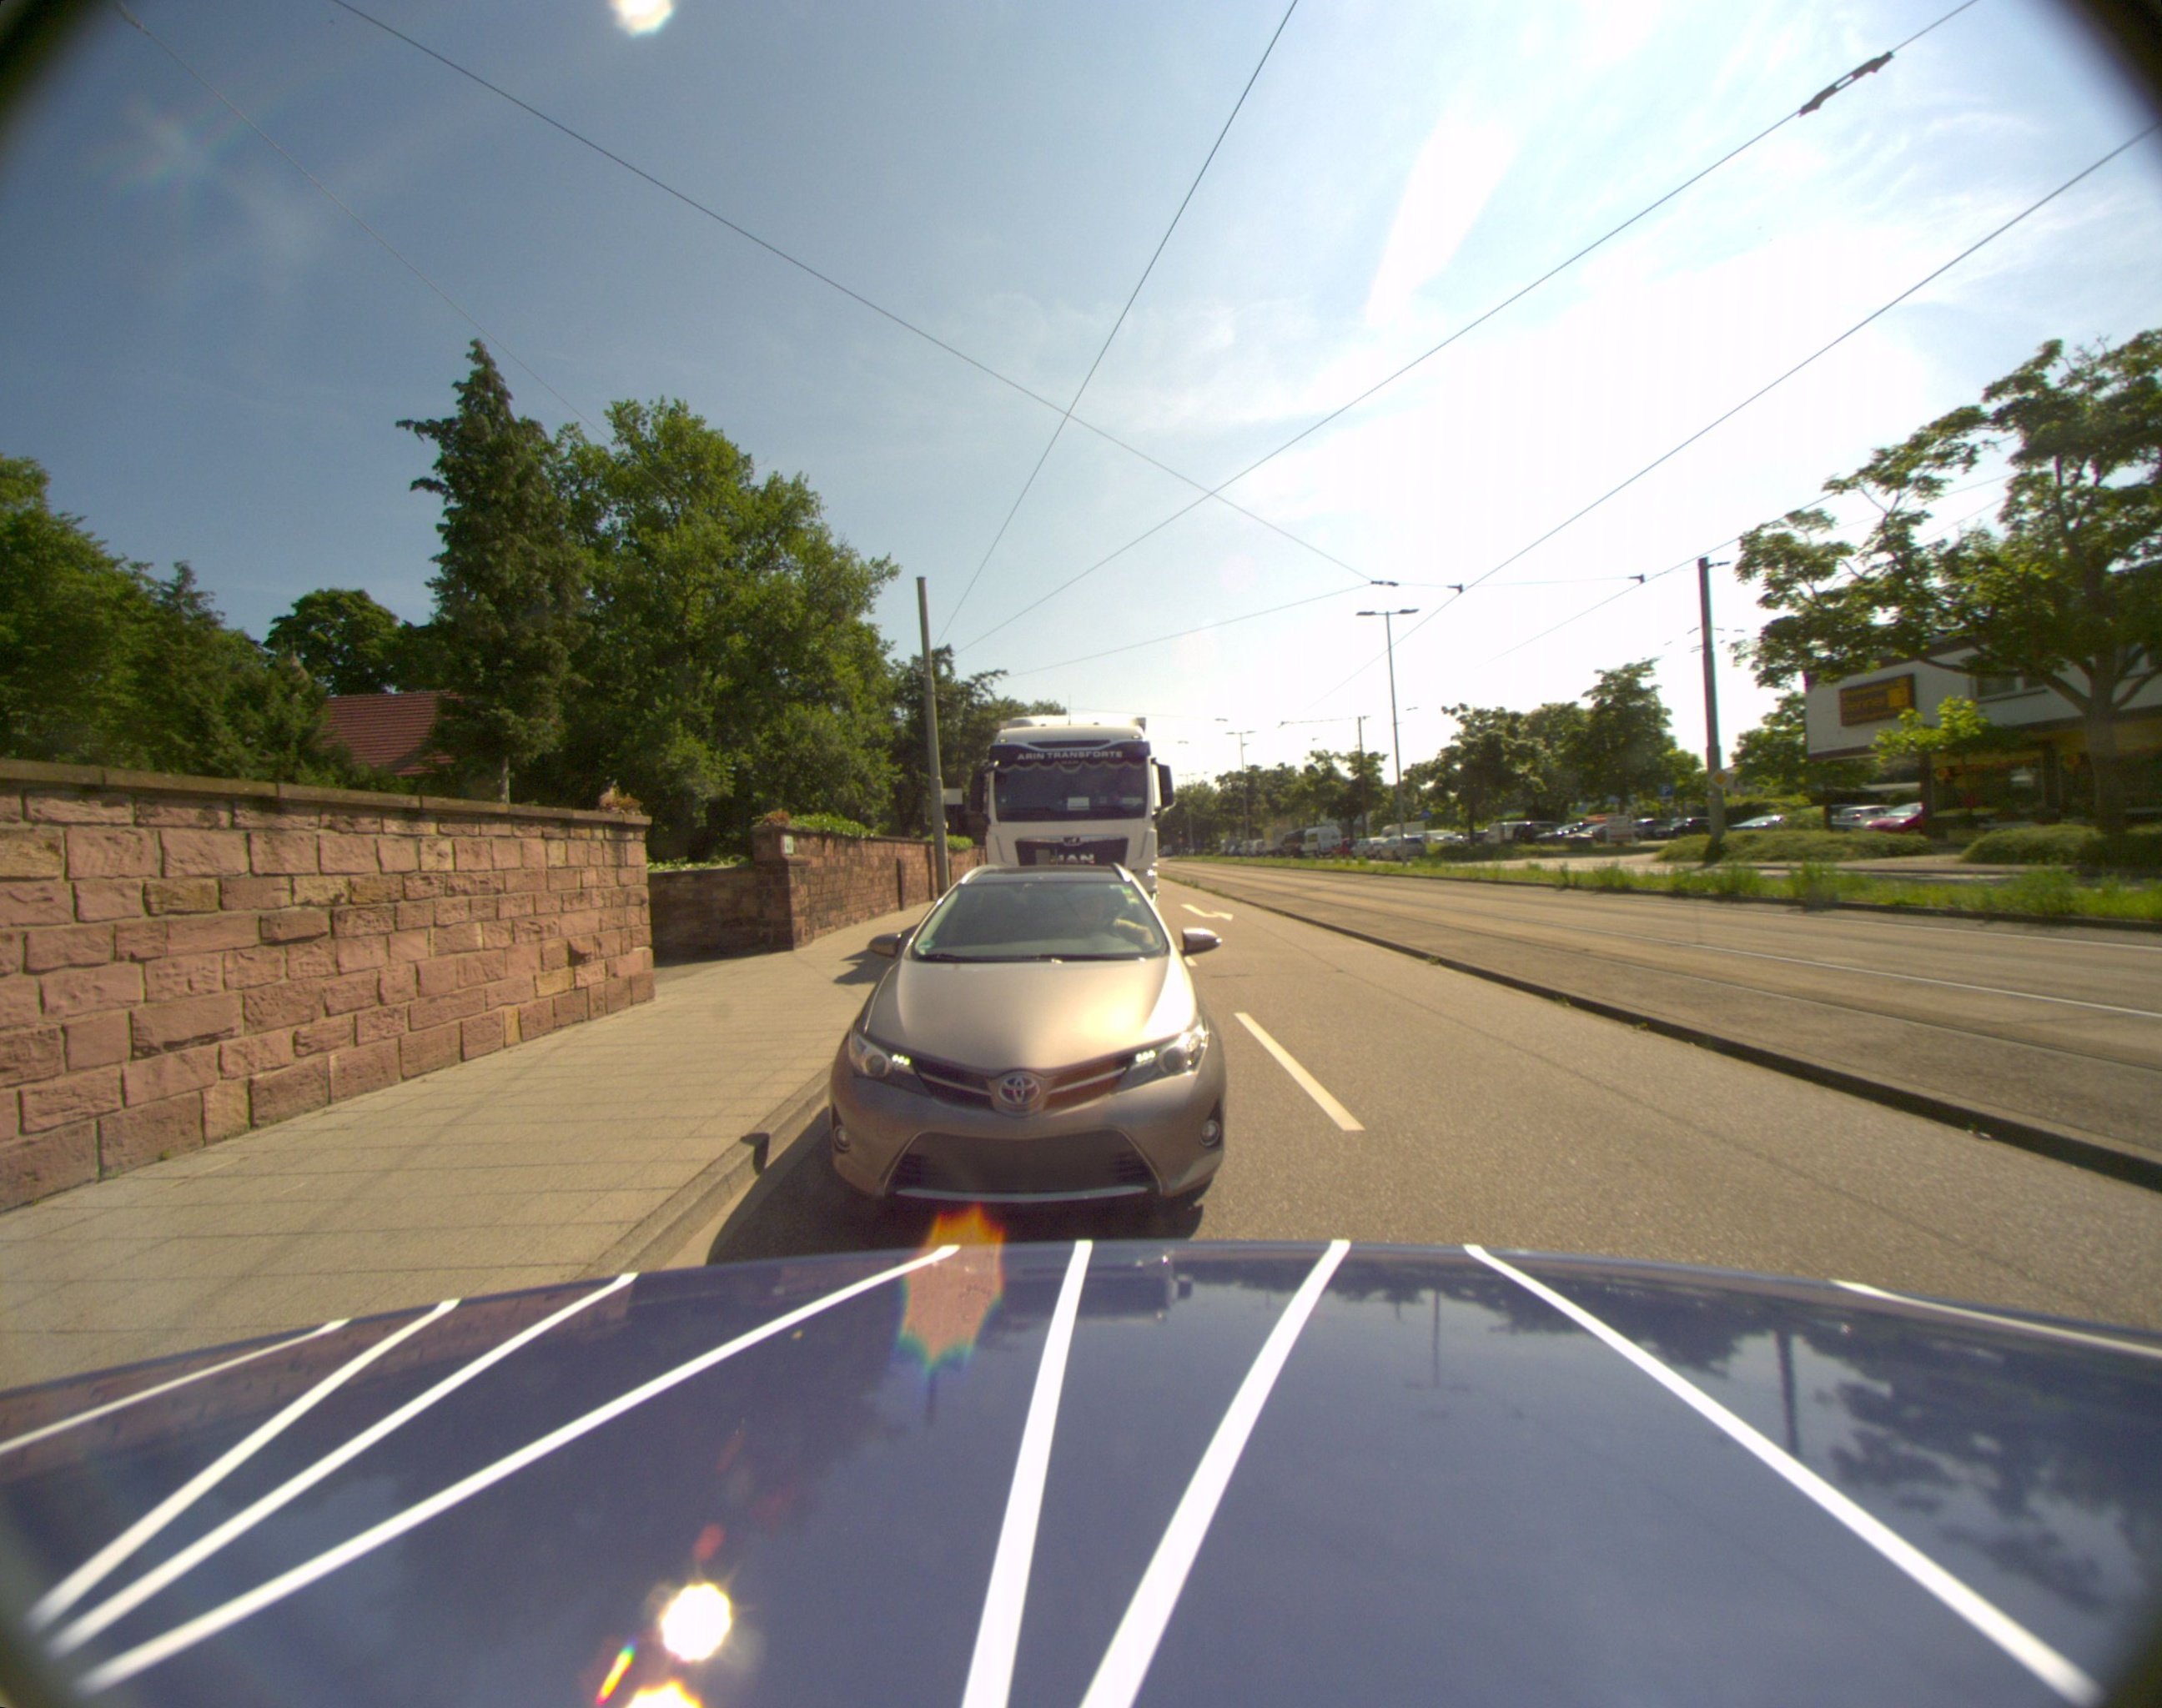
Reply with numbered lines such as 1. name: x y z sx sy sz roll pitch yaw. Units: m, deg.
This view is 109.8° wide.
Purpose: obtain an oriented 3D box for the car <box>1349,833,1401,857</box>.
1. car: 20.531 -0.626 53.246 1.893 1.551 4.285 -3 0 0

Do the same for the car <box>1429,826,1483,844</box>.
1. car: 31.412 -1.576 63.642 3.624 1.274 1.712 -3 1 -1

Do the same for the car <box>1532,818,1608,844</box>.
1. car: 30.494 -1.399 47.457 3.624 1.353 1.712 -3 1 -1

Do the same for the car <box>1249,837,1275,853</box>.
1. car: 20.771 -1.019 87.356 1.893 1.724 4.232 -3 0 0

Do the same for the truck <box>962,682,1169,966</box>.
1. truck: -0.148 -0.438 15.058 2.746 3.852 9.110 -2 0 1

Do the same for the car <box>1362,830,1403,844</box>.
1. car: 31.993 -1.787 80.574 3.624 1.274 1.712 -3 1 -1

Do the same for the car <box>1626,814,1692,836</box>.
1. car: 43.725 -2.190 57.533 3.624 1.353 1.712 -3 1 -1

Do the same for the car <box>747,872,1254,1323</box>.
1. car: -0.252 0.911 4.901 1.742 1.424 4.462 -2 0 1

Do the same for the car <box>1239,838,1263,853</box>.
1. car: 21.043 -1.078 94.292 1.893 1.757 4.232 -3 0 0

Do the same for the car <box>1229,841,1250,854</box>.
1. car: 20.906 -0.874 100.297 1.893 1.551 4.232 -3 0 0

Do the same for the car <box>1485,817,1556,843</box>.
1. car: 30.446 -1.635 52.666 3.749 1.560 1.951 -3 1 -1

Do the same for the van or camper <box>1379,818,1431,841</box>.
1. van or camper: 44.849 -3.371 105.381 6.081 2.715 2.299 -3 1 3

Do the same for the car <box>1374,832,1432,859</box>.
1. car: 20.343 -0.532 48.173 1.892 1.486 4.285 -6 0 2

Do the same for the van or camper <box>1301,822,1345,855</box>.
1. van or camper: 20.265 -1.259 63.797 2.040 2.617 4.839 -3 0 0

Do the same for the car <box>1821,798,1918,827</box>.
1. car: 43.787 -2.291 42.229 3.624 1.353 1.712 -3 1 -1

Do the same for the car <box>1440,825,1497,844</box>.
1. car: 31.007 -1.531 60.905 3.624 1.274 1.812 -3 0 -1

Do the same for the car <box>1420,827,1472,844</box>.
1. car: 31.686 -1.614 66.026 3.624 1.274 1.712 -3 1 -1

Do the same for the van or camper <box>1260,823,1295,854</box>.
1. van or camper: 20.283 -1.601 78.742 2.128 2.967 5.281 -3 0 0

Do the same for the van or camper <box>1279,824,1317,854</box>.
1. van or camper: 20.211 -1.335 70.852 2.040 2.617 4.839 -3 0 0

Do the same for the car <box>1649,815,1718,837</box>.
1. car: 43.528 -2.030 54.944 3.624 1.353 1.712 -3 1 -1

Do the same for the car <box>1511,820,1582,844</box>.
1. car: 30.697 -1.438 50.200 3.624 1.353 1.712 -3 1 -1

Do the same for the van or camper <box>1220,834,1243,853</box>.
1. van or camper: 21.217 -1.462 107.207 2.114 2.604 5.451 -2 1 1

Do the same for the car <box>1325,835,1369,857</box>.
1. car: 20.552 -0.620 58.875 1.893 1.486 4.232 -3 0 0

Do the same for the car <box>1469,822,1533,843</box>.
1. car: 30.373 -1.574 54.992 3.624 1.277 1.712 -3 1 -1

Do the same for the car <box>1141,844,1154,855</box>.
1. car: 10.736 -0.712 122.305 1.818 1.725 4.021 -2 1 2

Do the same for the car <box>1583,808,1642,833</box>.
1. car: 43.668 -2.720 62.481 3.624 1.767 1.712 -3 1 -1
